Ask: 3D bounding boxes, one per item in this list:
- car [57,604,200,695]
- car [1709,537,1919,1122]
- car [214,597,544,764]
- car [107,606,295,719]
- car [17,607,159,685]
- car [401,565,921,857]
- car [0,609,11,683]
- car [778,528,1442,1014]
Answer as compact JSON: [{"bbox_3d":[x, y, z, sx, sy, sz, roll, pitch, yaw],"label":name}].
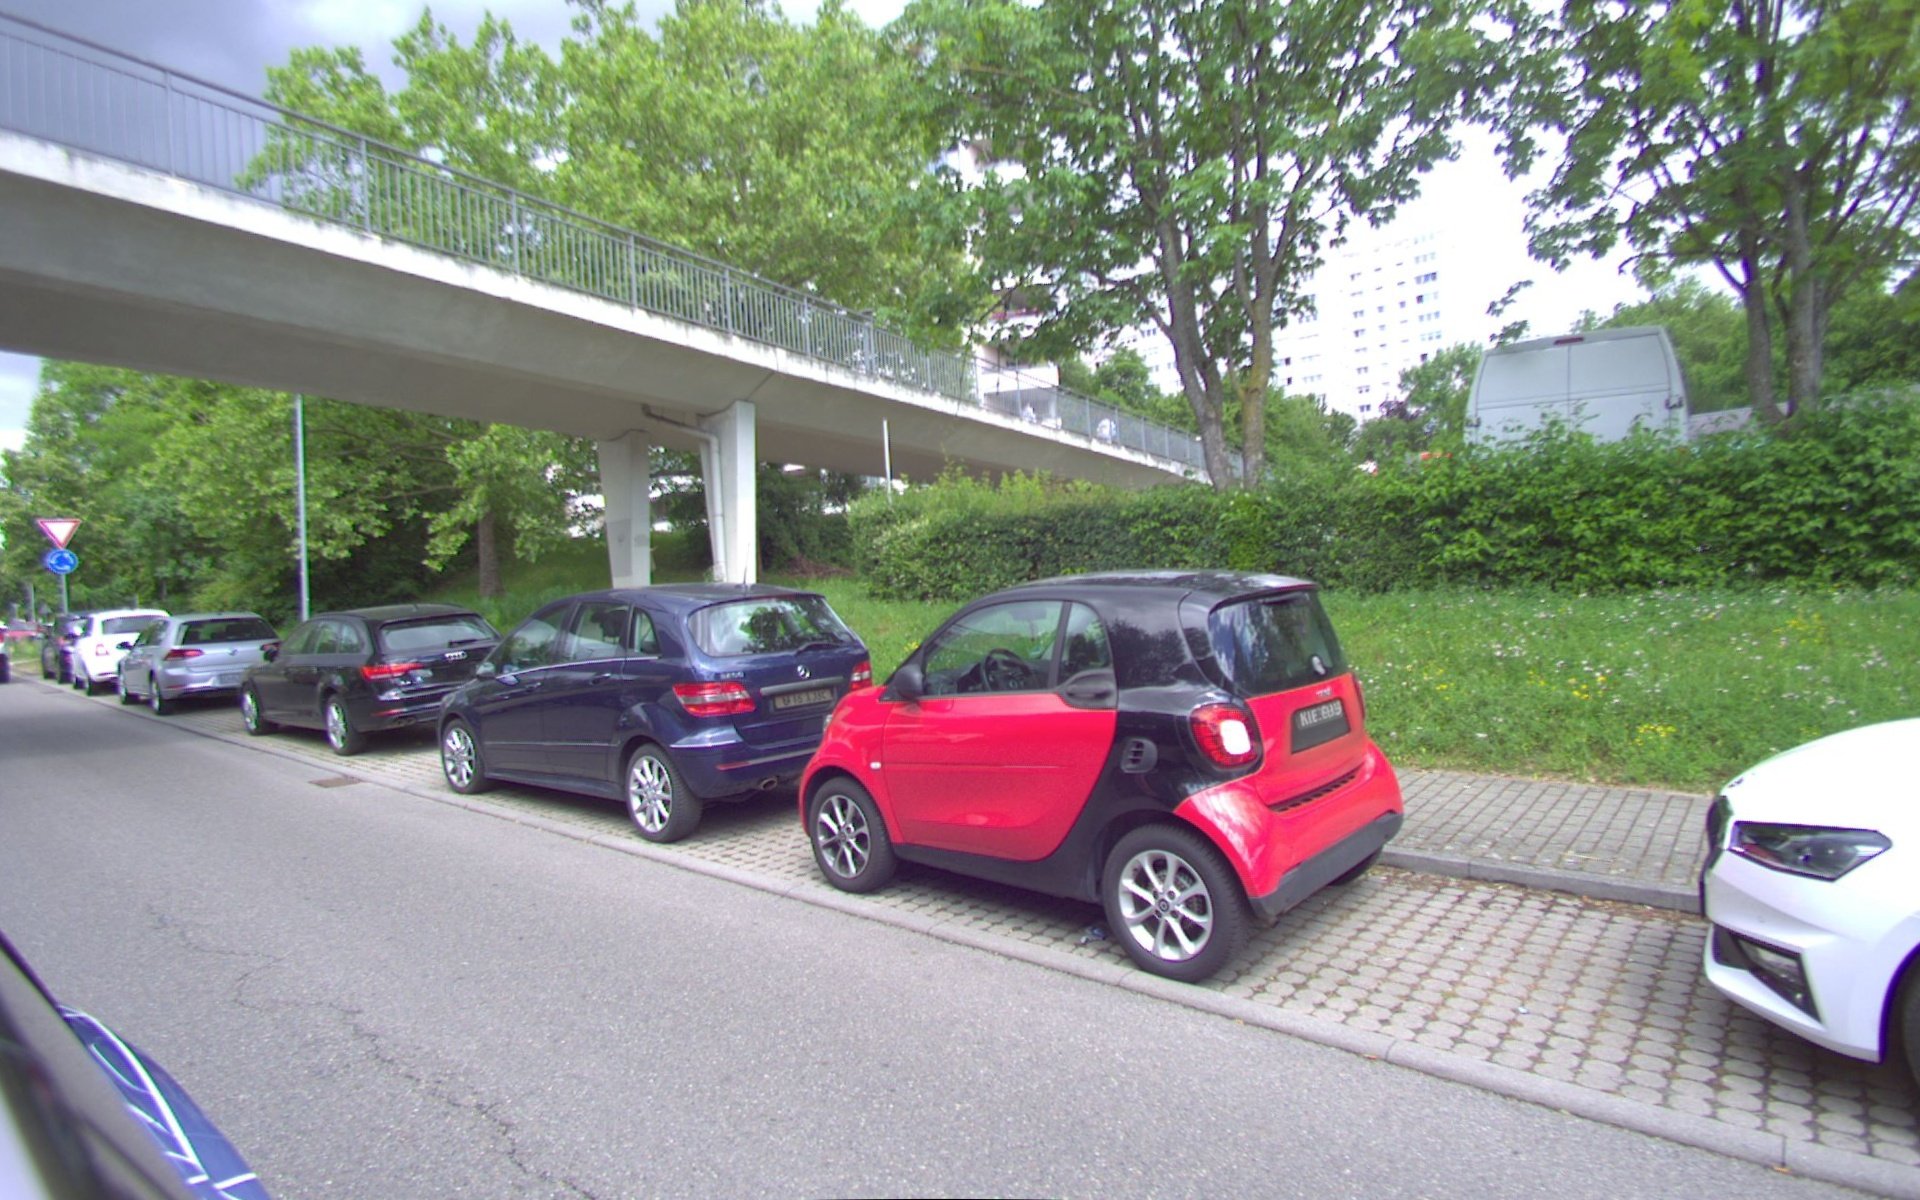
[{"bbox_3d":[-16.239,0.889,19.705,3.724,1.582,1.788,-1,0,45],"label":"car"},{"bbox_3d":[4.121,0.533,2.073,4.045,1.415,1.790,-1,0,41],"label":"car"},{"bbox_3d":[-6.775,0.773,11.598,4.482,1.491,1.790,-1,2,40],"label":"car"},{"bbox_3d":[-12.163,0.896,16.126,3.863,1.466,1.788,-1,3,45],"label":"car"},{"bbox_3d":[-19.629,0.972,22.752,3.718,1.582,1.791,-1,0,39],"label":"car"},{"bbox_3d":[-2.397,0.634,7.631,3.981,1.596,1.791,-1,2,40],"label":"car"},{"bbox_3d":[-22.499,1.010,22.333,3.718,1.582,1.791,-1,0,39],"label":"car"},{"bbox_3d":[0.632,0.551,4.871,2.684,1.596,1.577,-1,4,42],"label":"car"}]
